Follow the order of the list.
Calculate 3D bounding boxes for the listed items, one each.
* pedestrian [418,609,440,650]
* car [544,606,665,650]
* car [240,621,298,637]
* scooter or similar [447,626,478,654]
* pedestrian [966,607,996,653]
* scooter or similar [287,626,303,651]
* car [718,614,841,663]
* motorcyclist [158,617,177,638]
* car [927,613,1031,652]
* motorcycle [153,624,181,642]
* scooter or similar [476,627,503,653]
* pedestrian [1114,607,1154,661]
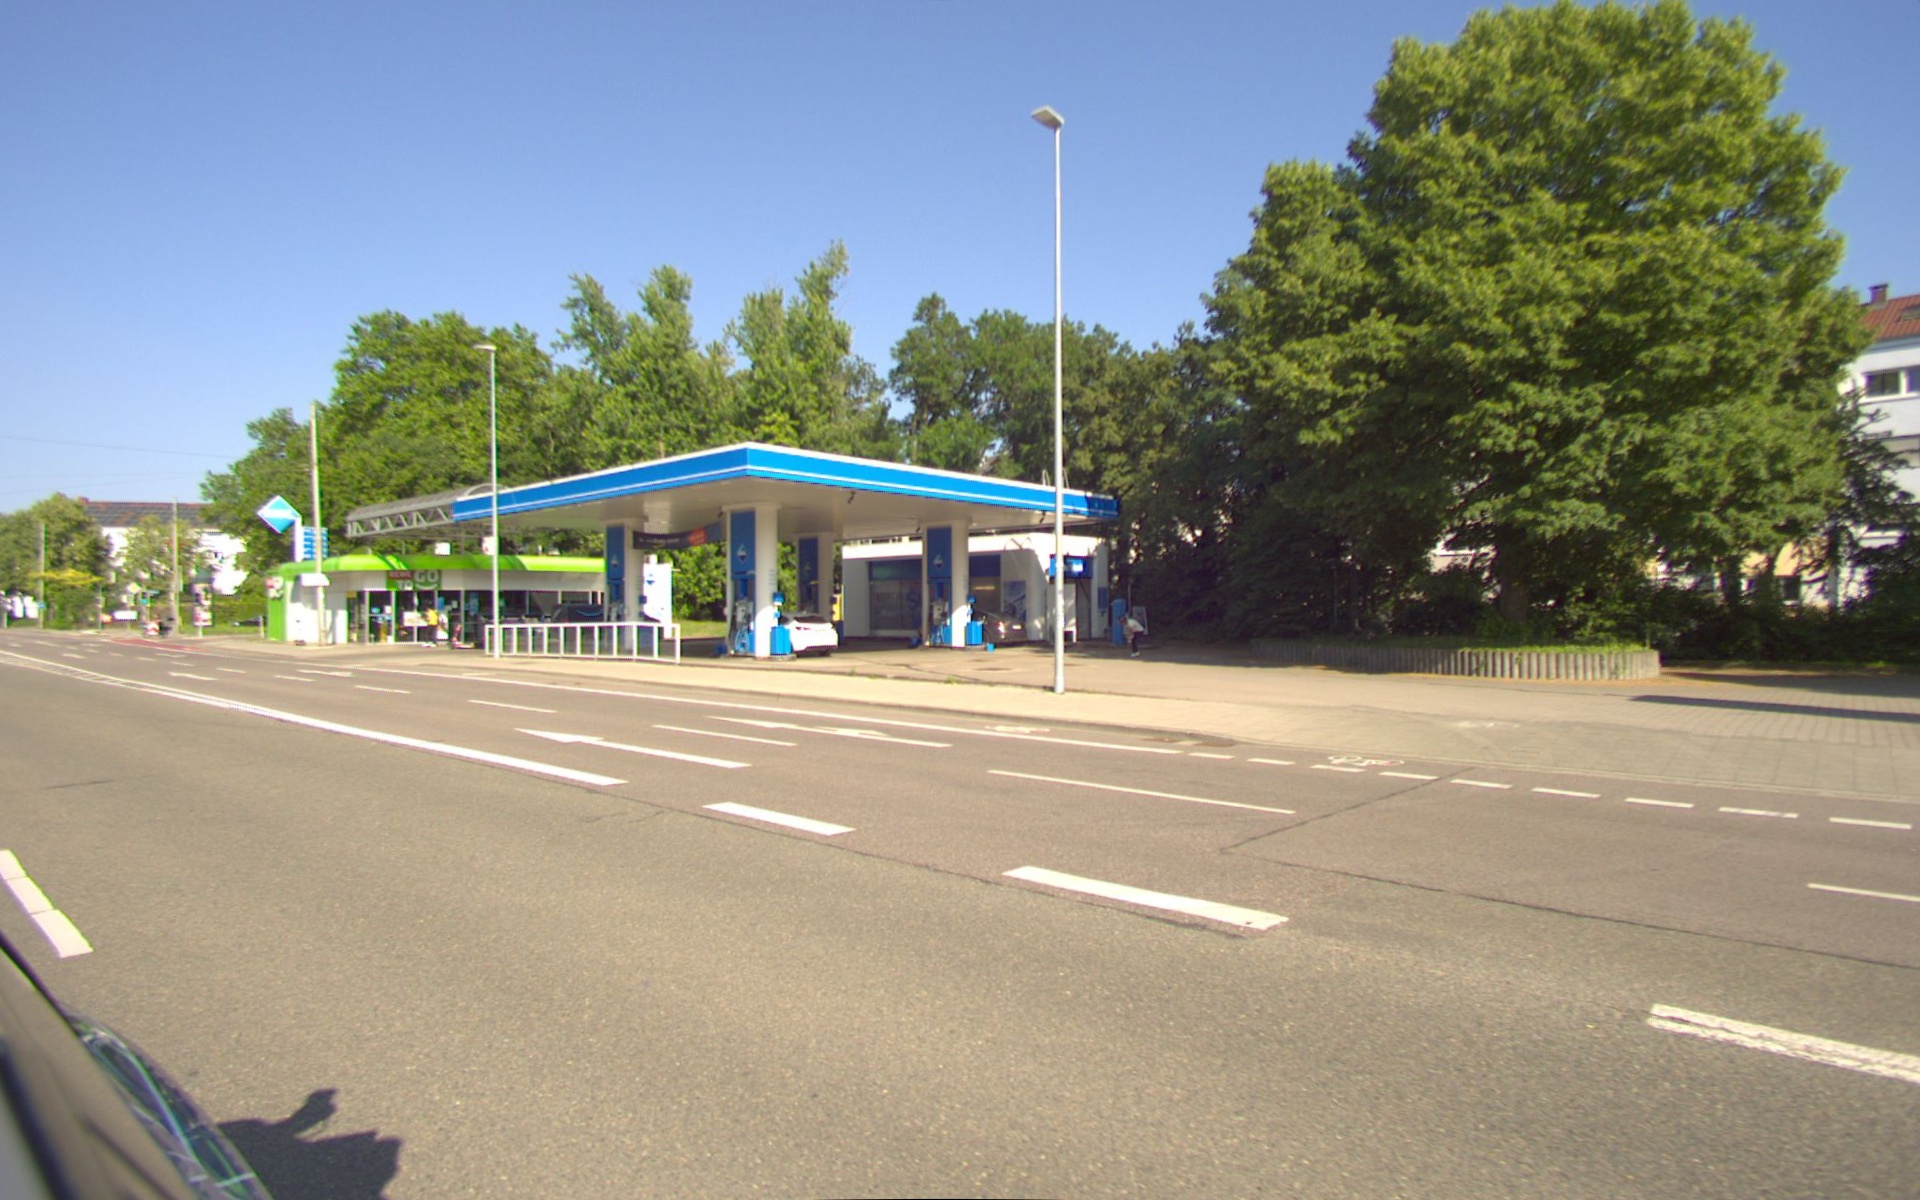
[{"bbox_3d":[-23.022,1.278,43.868,0.660,1.744,0.598,-1,-2,30],"label":"pedestrian"},{"bbox_3d":[-16.443,1.266,46.972,1.858,1.955,5.013,-2,-2,45],"label":"car"},{"bbox_3d":[-63.441,2.625,92.891,1.690,1.454,4.140,-2,-2,43],"label":"car"},{"bbox_3d":[-21.116,1.690,42.933,1.127,1.125,0.351,1,-2,-40],"label":"scooter or similar"},{"bbox_3d":[0.800,1.129,38.267,0.795,1.703,0.807,-1,-2,41],"label":"pedestrian"},{"bbox_3d":[-31.658,1.847,48.155,1.143,1.169,0.345,-2,-2,43],"label":"scooter or similar"},{"bbox_3d":[-5.963,1.214,33.112,4.273,1.502,1.718,-1,-1,42],"label":"car"},{"bbox_3d":[-54.327,1.871,69.350,0.722,1.399,0.867,0,-1,-16],"label":"motorcyclist"},{"bbox_3d":[0.706,1.254,39.503,4.001,1.457,1.717,-1,-2,44],"label":"car"},{"bbox_3d":[-54.328,2.254,69.348,0.722,1.237,2.270,0,-1,-16],"label":"motorcycle"},{"bbox_3d":[-20.326,1.708,43.709,1.016,1.118,0.351,1,-2,-42],"label":"scooter or similar"},{"bbox_3d":[5.637,1.098,32.757,1.062,1.726,0.816,-1,-1,29],"label":"pedestrian"}]
